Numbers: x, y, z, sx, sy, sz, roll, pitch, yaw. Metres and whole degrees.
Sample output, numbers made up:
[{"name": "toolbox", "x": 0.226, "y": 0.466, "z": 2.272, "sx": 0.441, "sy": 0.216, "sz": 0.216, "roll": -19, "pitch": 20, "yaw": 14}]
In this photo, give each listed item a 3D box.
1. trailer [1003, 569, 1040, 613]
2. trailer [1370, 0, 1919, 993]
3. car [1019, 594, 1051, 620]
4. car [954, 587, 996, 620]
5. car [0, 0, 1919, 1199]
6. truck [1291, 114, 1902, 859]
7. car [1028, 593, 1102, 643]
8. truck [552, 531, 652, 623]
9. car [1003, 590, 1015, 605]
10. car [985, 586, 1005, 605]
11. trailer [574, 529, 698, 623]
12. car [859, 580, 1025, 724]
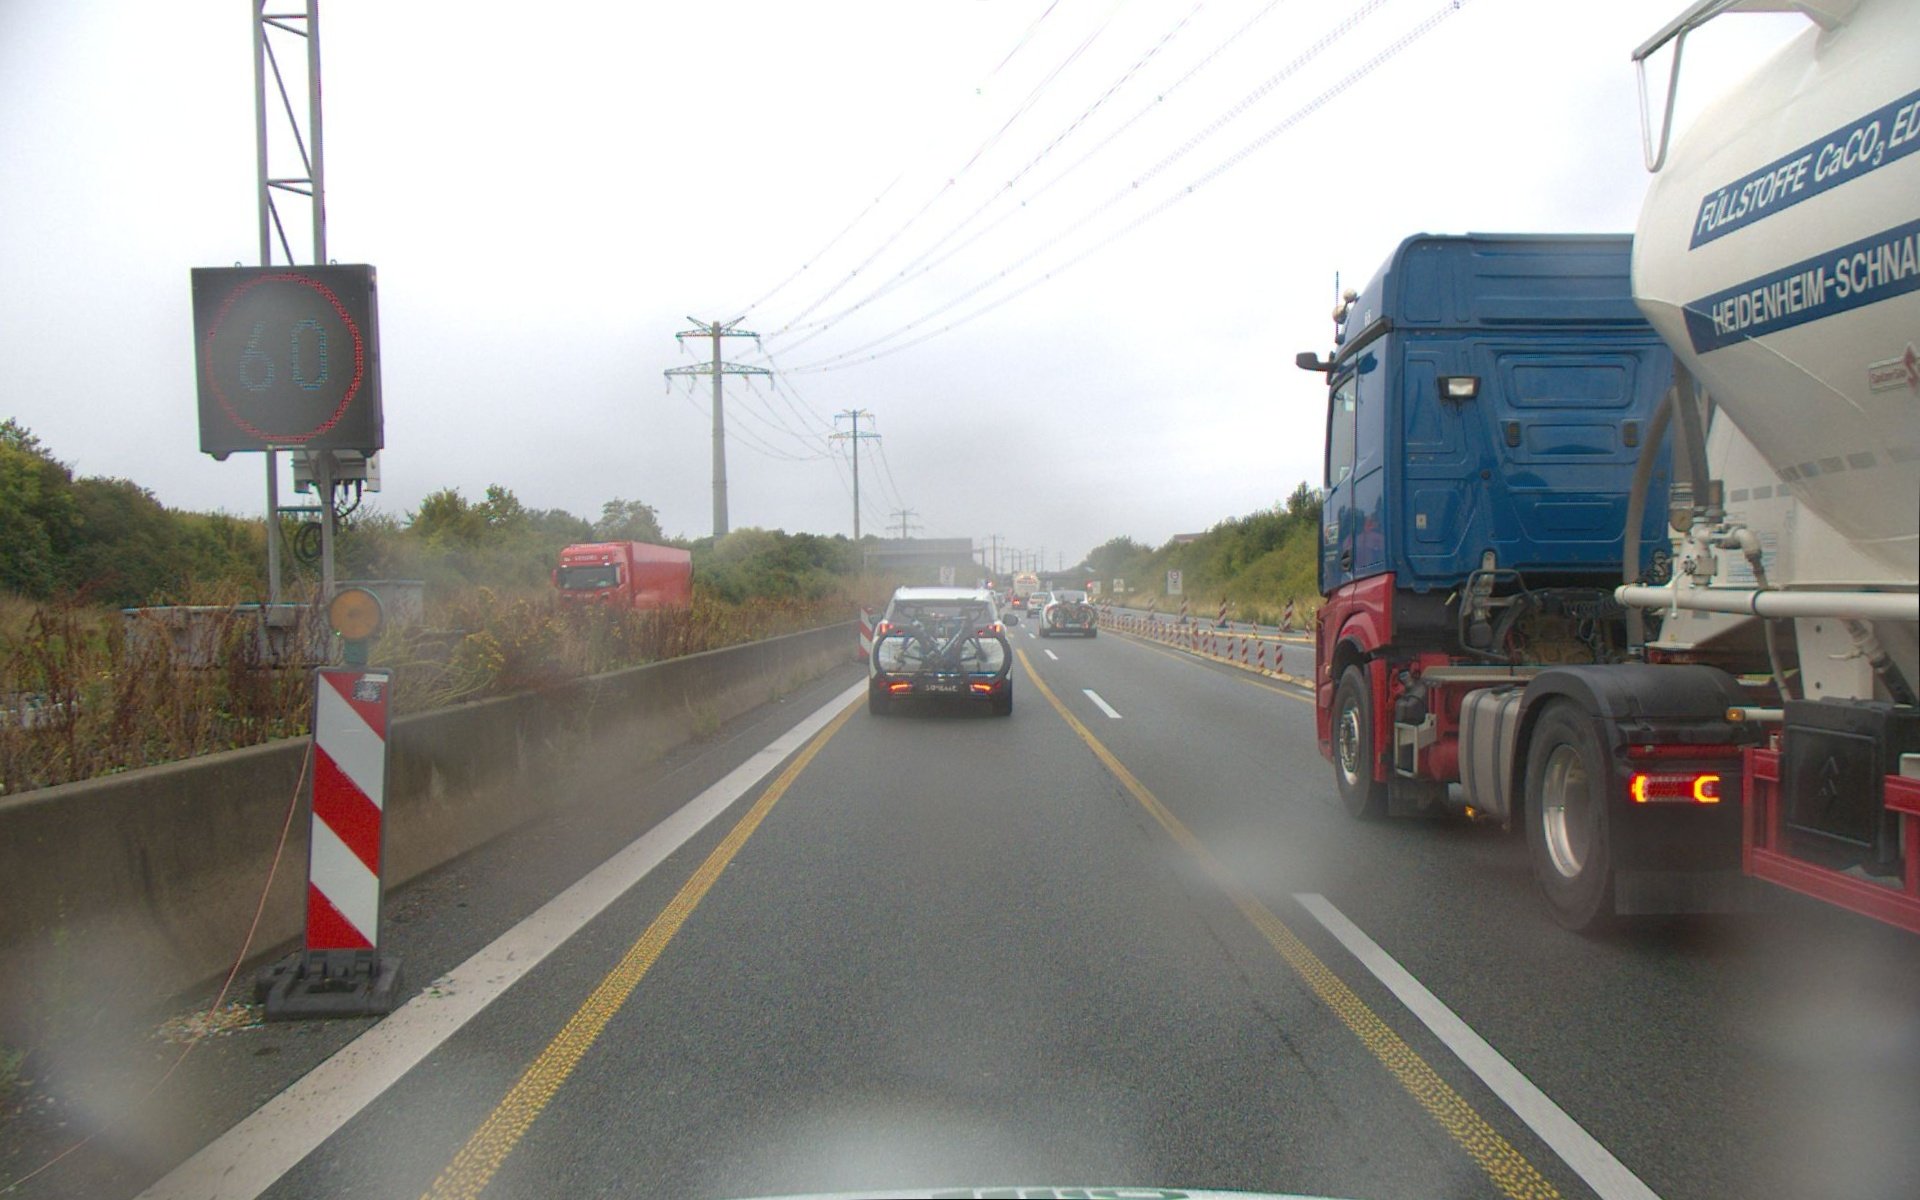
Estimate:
[{"name": "trailer", "x": 5.721, "y": -0.786, "z": 154.634, "sx": 2.585, "sy": 3.961, "sz": 10.538, "roll": 1, "pitch": 0, "yaw": -2}, {"name": "trailer", "x": 4.029, "y": -0.799, "z": 4.726, "sx": 2.468, "sy": 3.901, "sz": 12.348, "roll": 1, "pitch": 0, "yaw": -1}, {"name": "car", "x": 4.618, "y": 0.402, "z": 102.135, "sx": 1.831, "sy": 1.561, "sz": 4.197, "roll": 0, "pitch": 0, "yaw": 1}, {"name": "car", "x": 0.731, "y": 0.156, "z": 84.541, "sx": 1.953, "sy": 1.611, "sz": 3.998, "roll": 0, "pitch": 0, "yaw": -2}, {"name": "car", "x": -0.215, "y": 0.662, "z": 0.101, "sx": 1.953, "sy": 1.791, "sz": 4.000, "roll": -1, "pitch": 0, "yaw": -1}, {"name": "truck", "x": 3.865, "y": -0.606, "z": 10.985, "sx": 2.495, "sy": 4.016, "sz": 3.999, "roll": 1, "pitch": -1, "yaw": 0}, {"name": "car", "x": 3.613, "y": 0.600, "z": 57.982, "sx": 2.004, "sy": 1.624, "sz": 5.799, "roll": 1, "pitch": 0, "yaw": -2}, {"name": "truck", "x": -14.621, "y": -0.875, "z": 67.865, "sx": 2.962, "sy": 3.593, "sz": 4.926, "roll": 1, "pitch": -1, "yaw": 0}, {"name": "car", "x": 6.989, "y": -0.340, "z": 235.395, "sx": 1.619, "sy": 2.049, "sz": 4.001, "roll": 0, "pitch": 0, "yaw": 2}, {"name": "car", "x": 3.906, "y": -0.464, "z": 184.116, "sx": 1.953, "sy": 2.049, "sz": 3.998, "roll": 1, "pitch": 0, "yaw": -2}, {"name": "trailer", "x": -14.609, "y": -0.957, "z": 75.869, "sx": 2.975, "sy": 3.881, "sz": 13.976, "roll": 1, "pitch": 0, "yaw": 0}, {"name": "car", "x": -0.203, "y": 0.584, "z": 21.277, "sx": 1.889, "sy": 1.639, "sz": 4.595, "roll": 0, "pitch": 0, "yaw": 0}]
